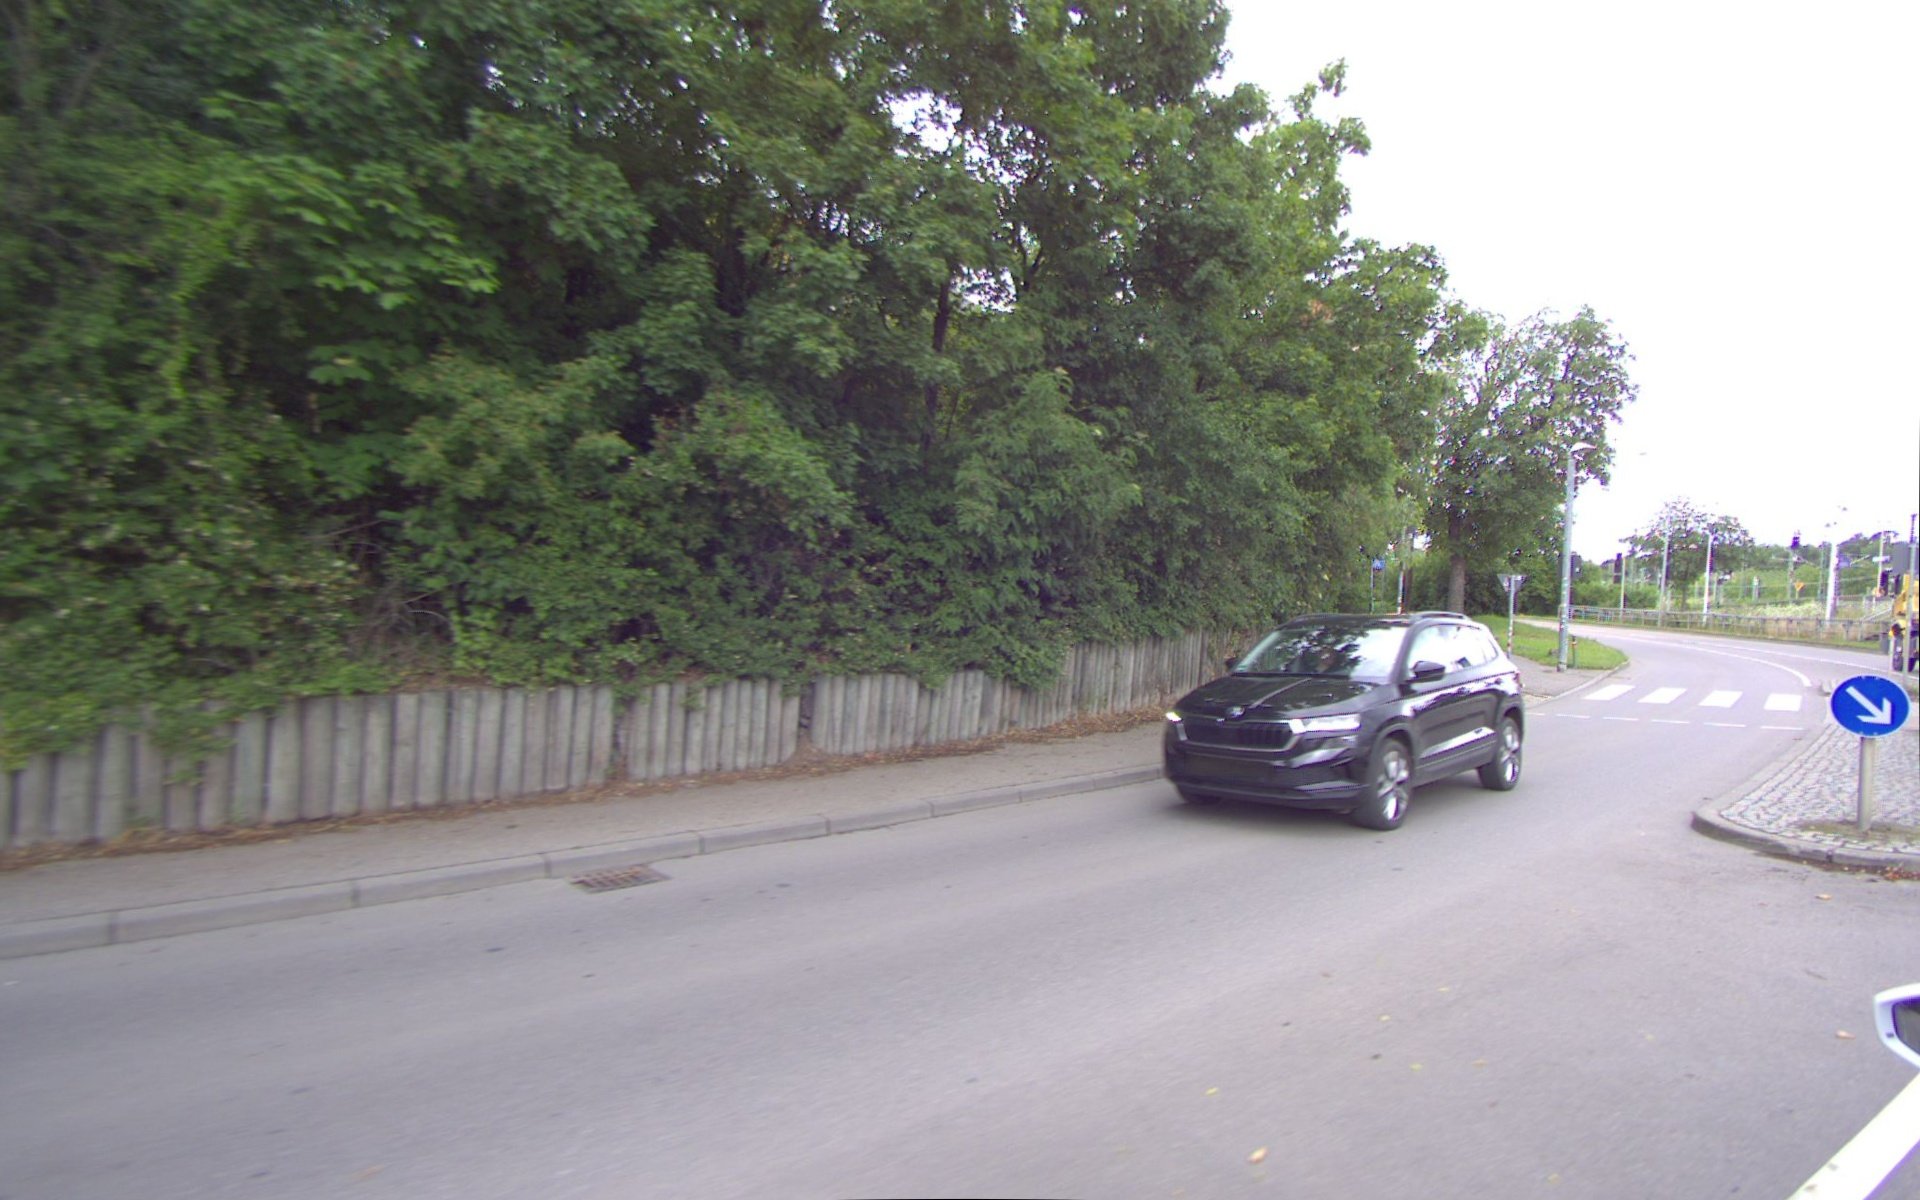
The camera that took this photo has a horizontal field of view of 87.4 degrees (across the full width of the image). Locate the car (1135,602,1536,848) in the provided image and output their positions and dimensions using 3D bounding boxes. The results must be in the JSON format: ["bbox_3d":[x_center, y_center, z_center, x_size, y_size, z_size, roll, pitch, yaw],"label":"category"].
[{"bbox_3d":[3.457,0.893,8.794,1.784,1.631,4.151,-2,-2,44],"label":"car"}]

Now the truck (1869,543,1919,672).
[{"bbox_3d":[27.965,0.236,27.619,2.725,3.531,8.110,2,2,31],"label":"truck"}]
